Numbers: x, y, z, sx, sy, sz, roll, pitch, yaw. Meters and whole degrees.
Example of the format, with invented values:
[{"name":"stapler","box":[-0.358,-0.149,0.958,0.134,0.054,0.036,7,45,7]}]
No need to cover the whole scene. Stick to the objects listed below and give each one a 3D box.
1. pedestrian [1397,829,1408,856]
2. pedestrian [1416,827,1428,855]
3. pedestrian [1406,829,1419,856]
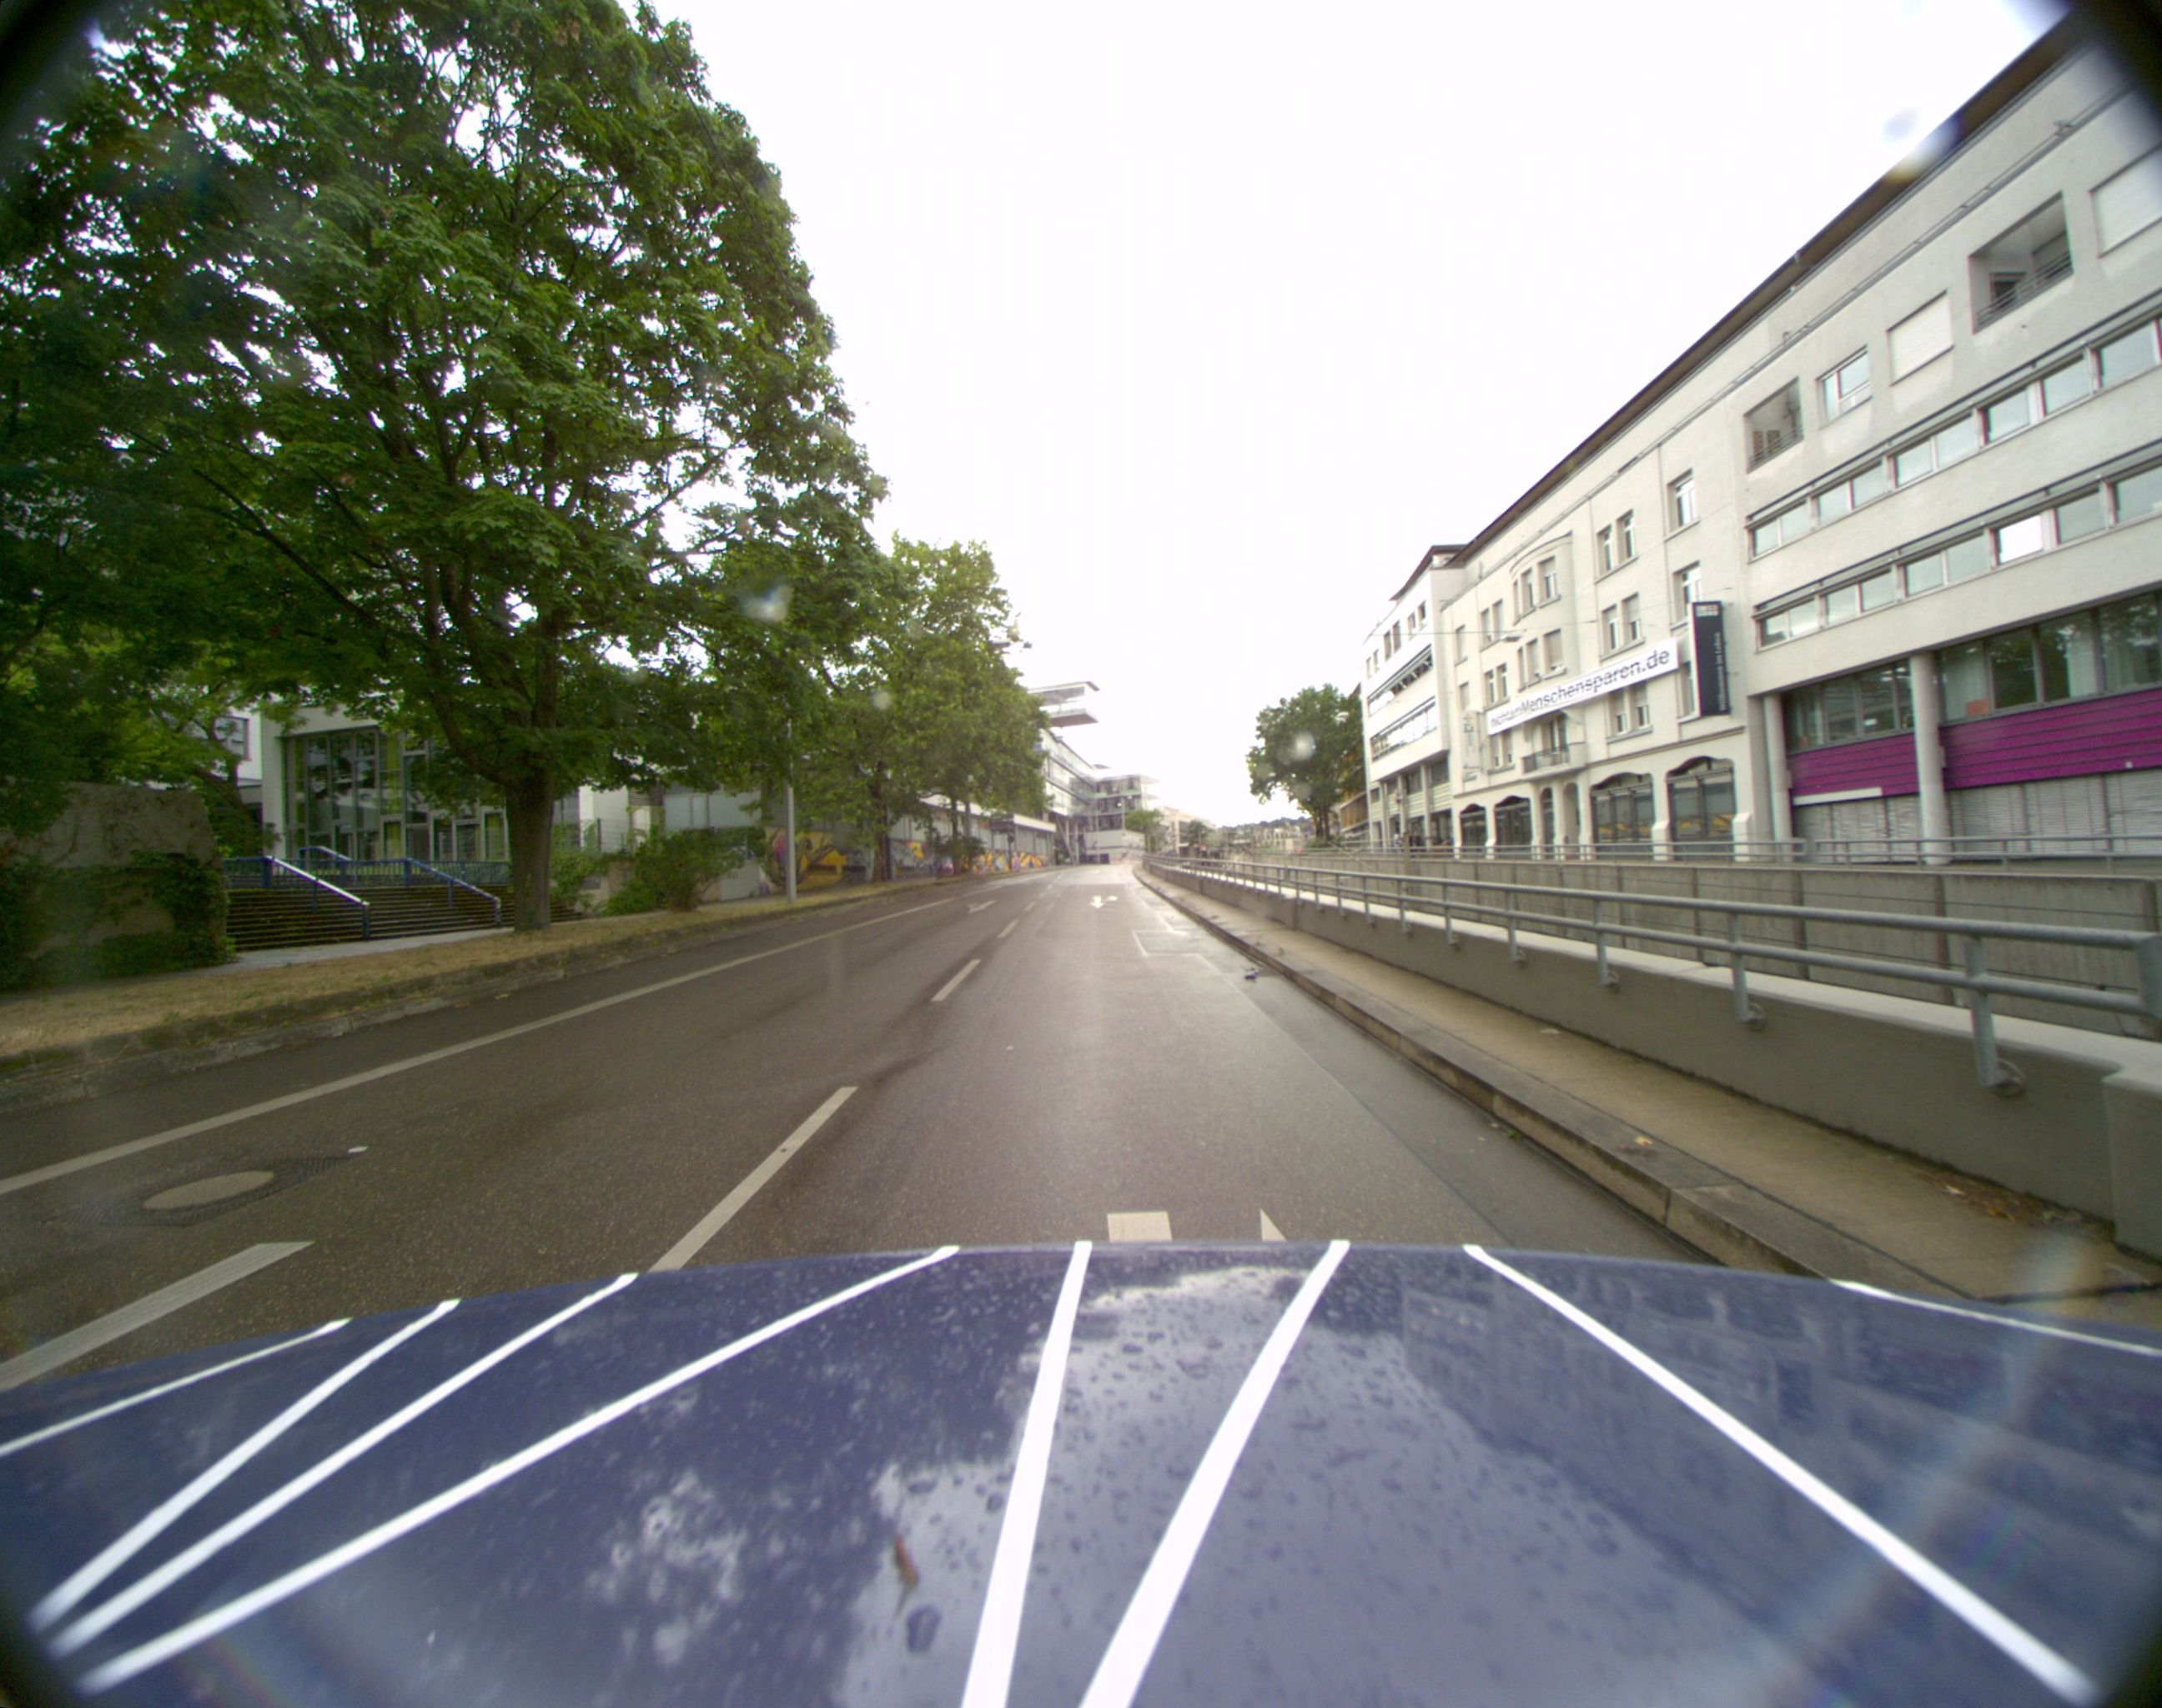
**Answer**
[{"name":"pedestrian","box":[21.703,-0.751,51.363,0.469,1.792,0.548,-4,1,8]},{"name":"pedestrian","box":[22.567,-0.864,50.302,0.470,1.792,0.547,-4,1,3]},{"name":"pedestrian","box":[22.476,-0.789,51.564,0.547,1.792,0.470,-4,1,-7]}]
